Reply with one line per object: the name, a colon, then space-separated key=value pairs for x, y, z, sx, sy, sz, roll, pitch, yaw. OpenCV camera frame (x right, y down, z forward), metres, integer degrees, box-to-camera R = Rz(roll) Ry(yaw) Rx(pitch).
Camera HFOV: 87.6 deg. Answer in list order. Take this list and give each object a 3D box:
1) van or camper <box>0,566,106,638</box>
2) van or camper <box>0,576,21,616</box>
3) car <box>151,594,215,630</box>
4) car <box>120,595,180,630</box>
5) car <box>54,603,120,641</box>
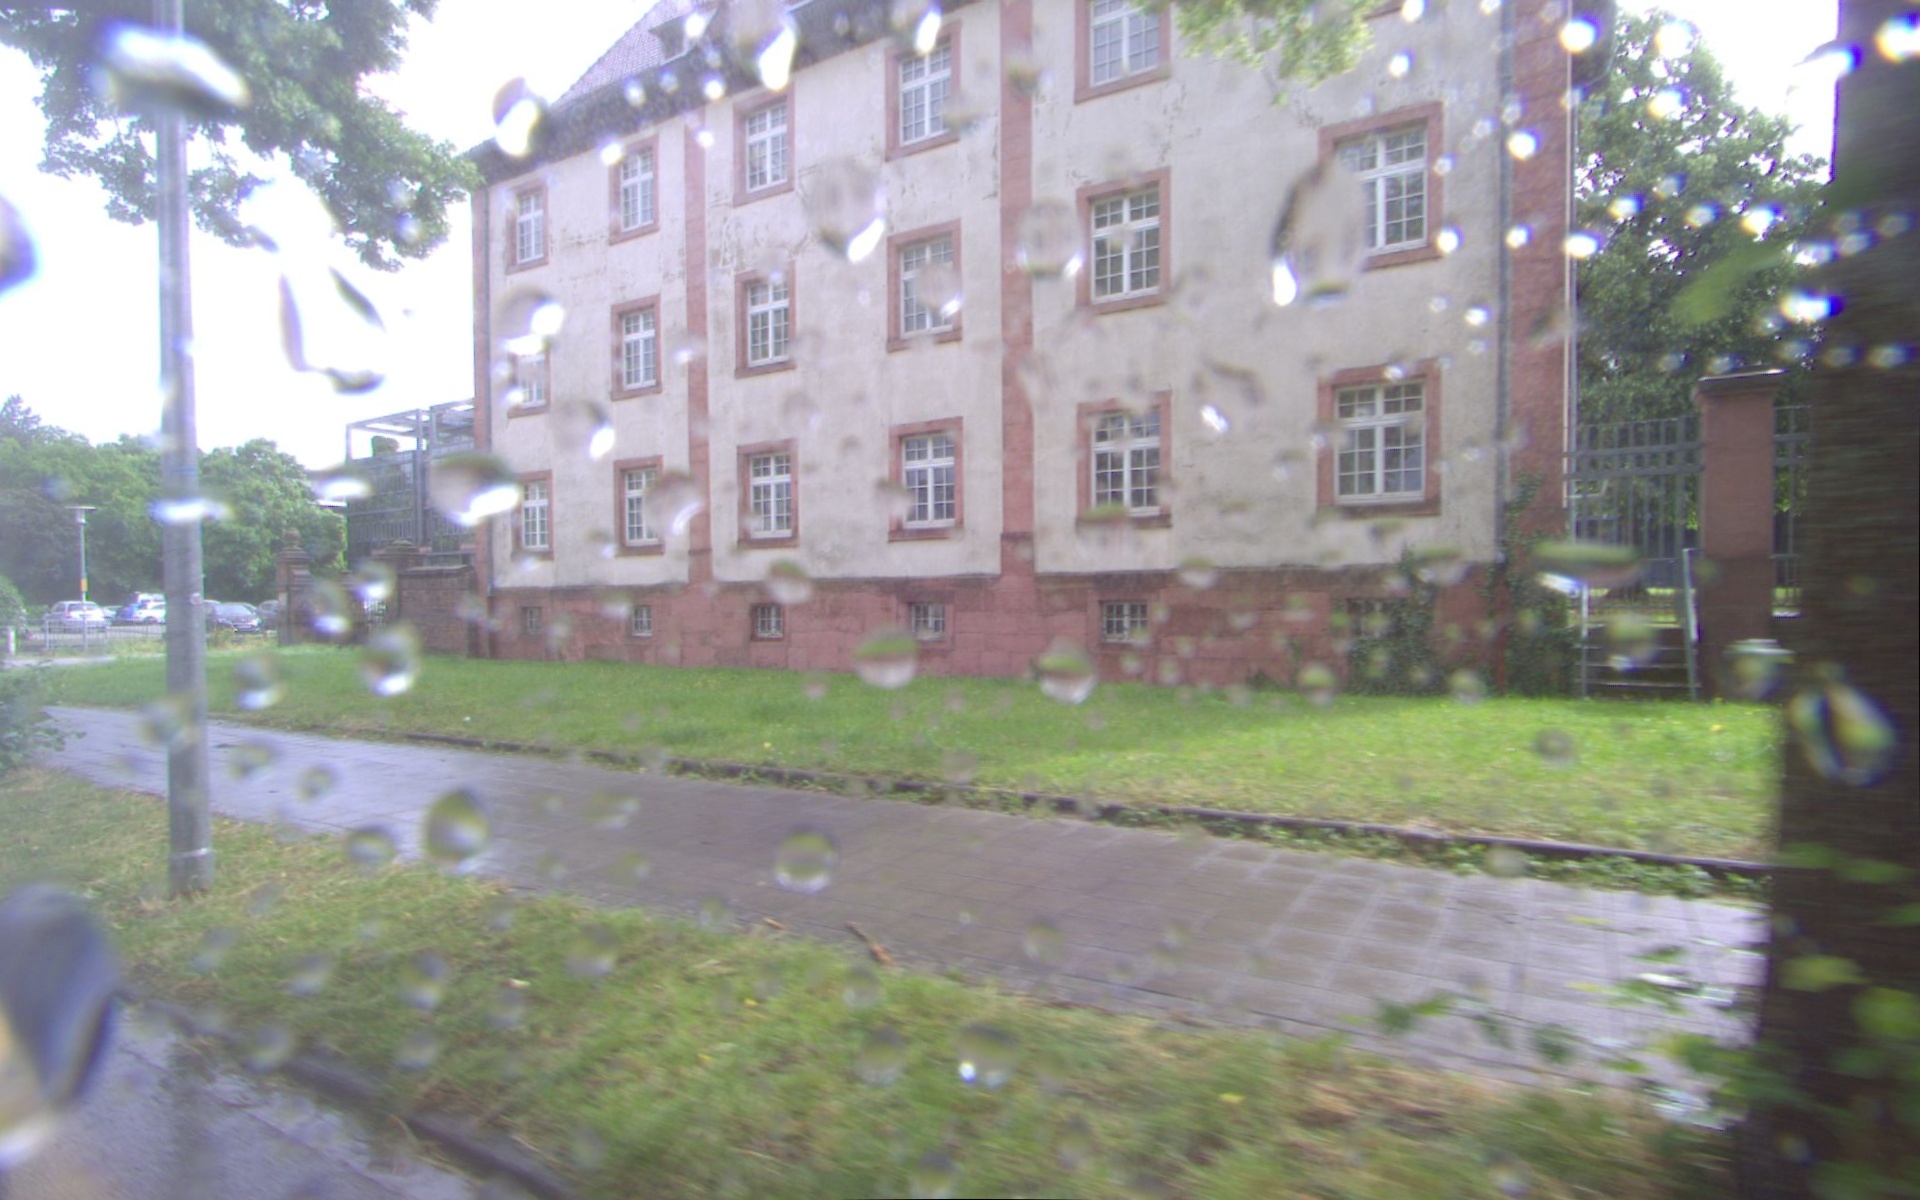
van or camper: x=-35.504 y=0.070 z=37.409 sx=2.136 sy=2.630 sz=5.023 roll=0 pitch=1 yaw=31
van or camper: x=-48.755 y=-0.230 z=48.168 sx=2.101 sy=1.951 sz=4.864 roll=1 pitch=0 yaw=33
car: x=-47.494 y=0.730 z=61.222 sx=3.948 sy=2.042 sz=1.985 roll=0 pitch=3 yaw=36
car: x=-52.004 y=0.795 z=64.269 sx=3.948 sy=2.042 sz=1.985 roll=0 pitch=3 yaw=36
car: x=-43.098 y=1.048 z=49.429 sx=3.822 sy=1.707 sz=1.734 roll=0 pitch=3 yaw=39
